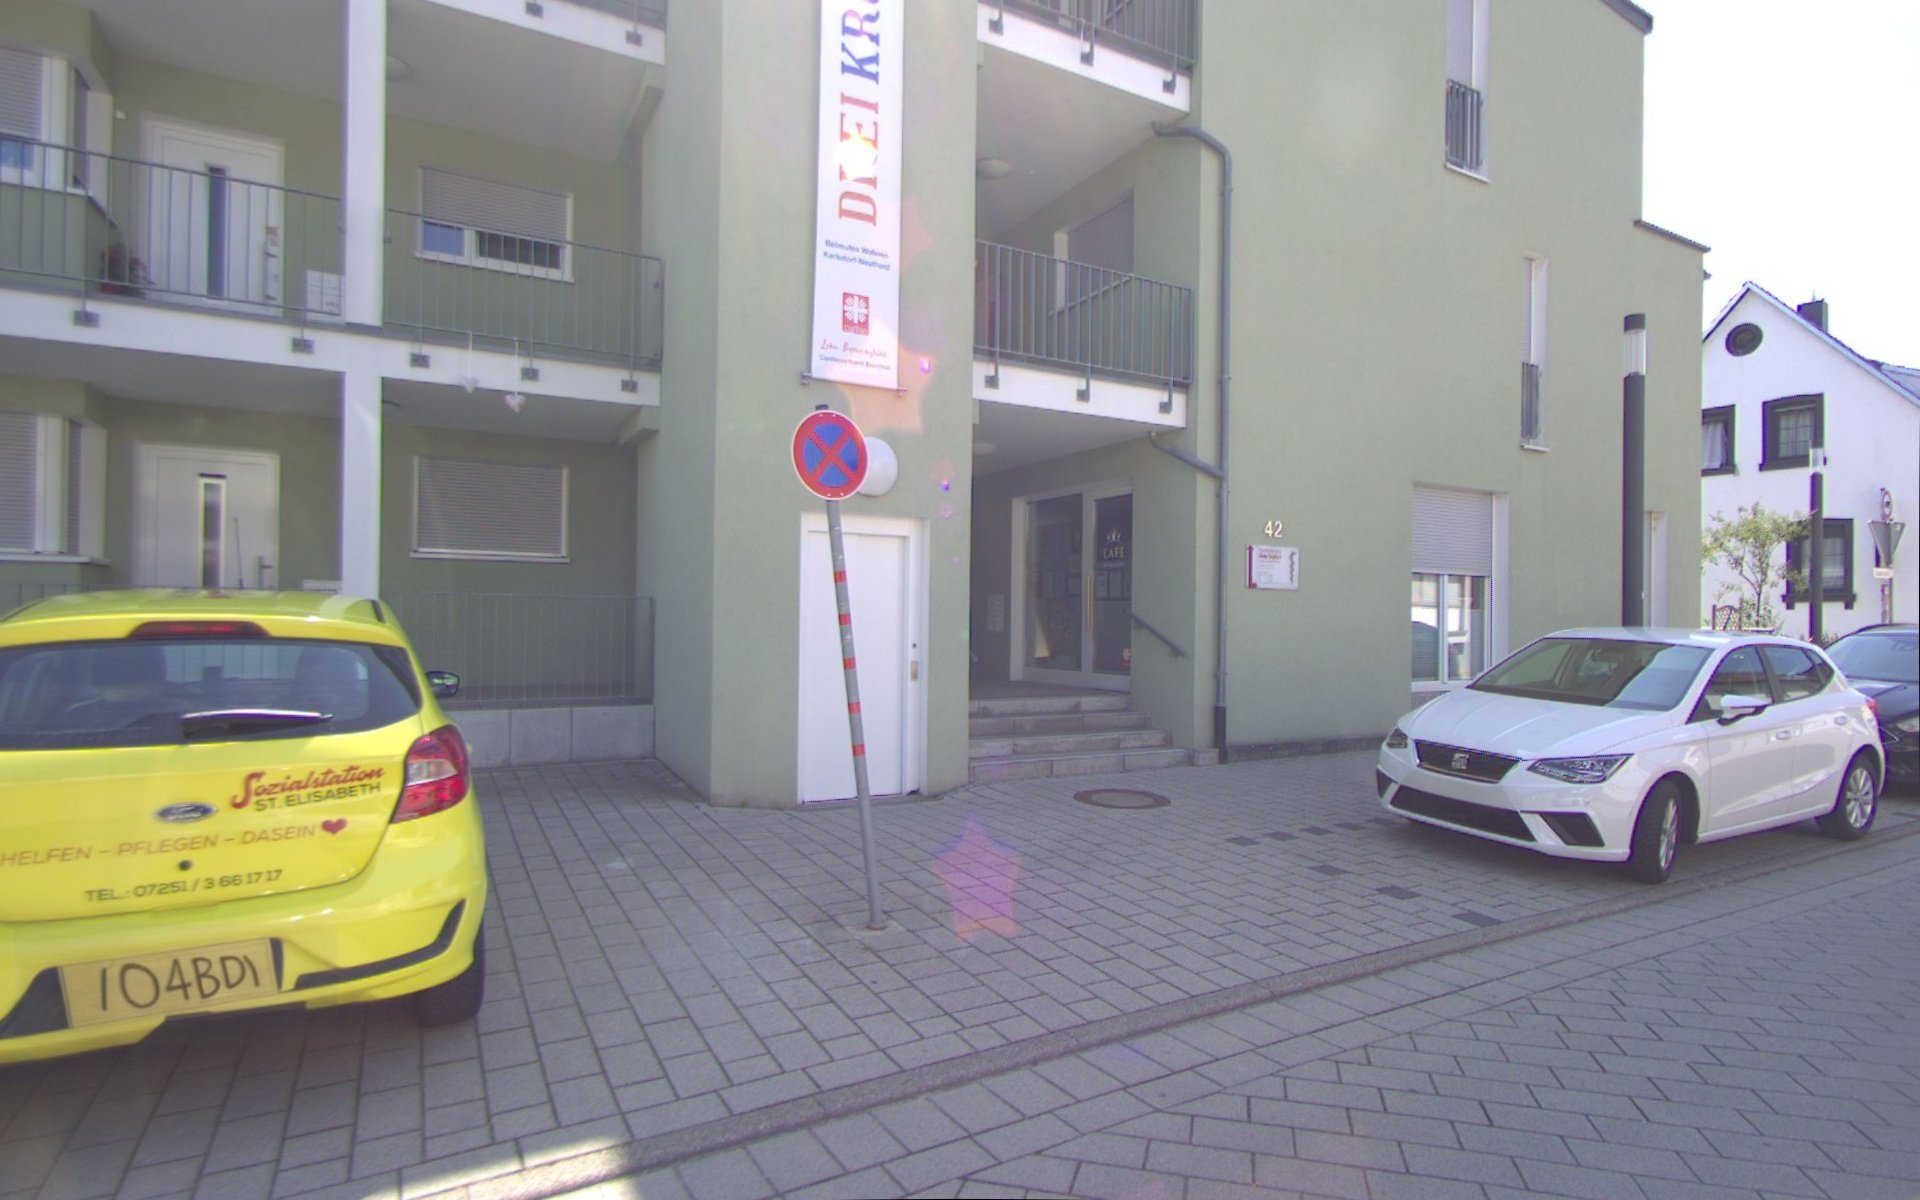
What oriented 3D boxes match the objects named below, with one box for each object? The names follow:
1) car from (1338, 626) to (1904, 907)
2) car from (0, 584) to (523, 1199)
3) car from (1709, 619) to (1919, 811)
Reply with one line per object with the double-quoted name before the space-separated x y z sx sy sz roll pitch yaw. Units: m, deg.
"car" 4.704 0.942 7.086 3.830 1.430 1.750 1 1 -29
"car" -3.011 0.746 4.261 1.653 1.546 3.672 1 1 -31
"car" 9.365 0.979 9.729 4.225 1.510 1.805 1 1 -29
